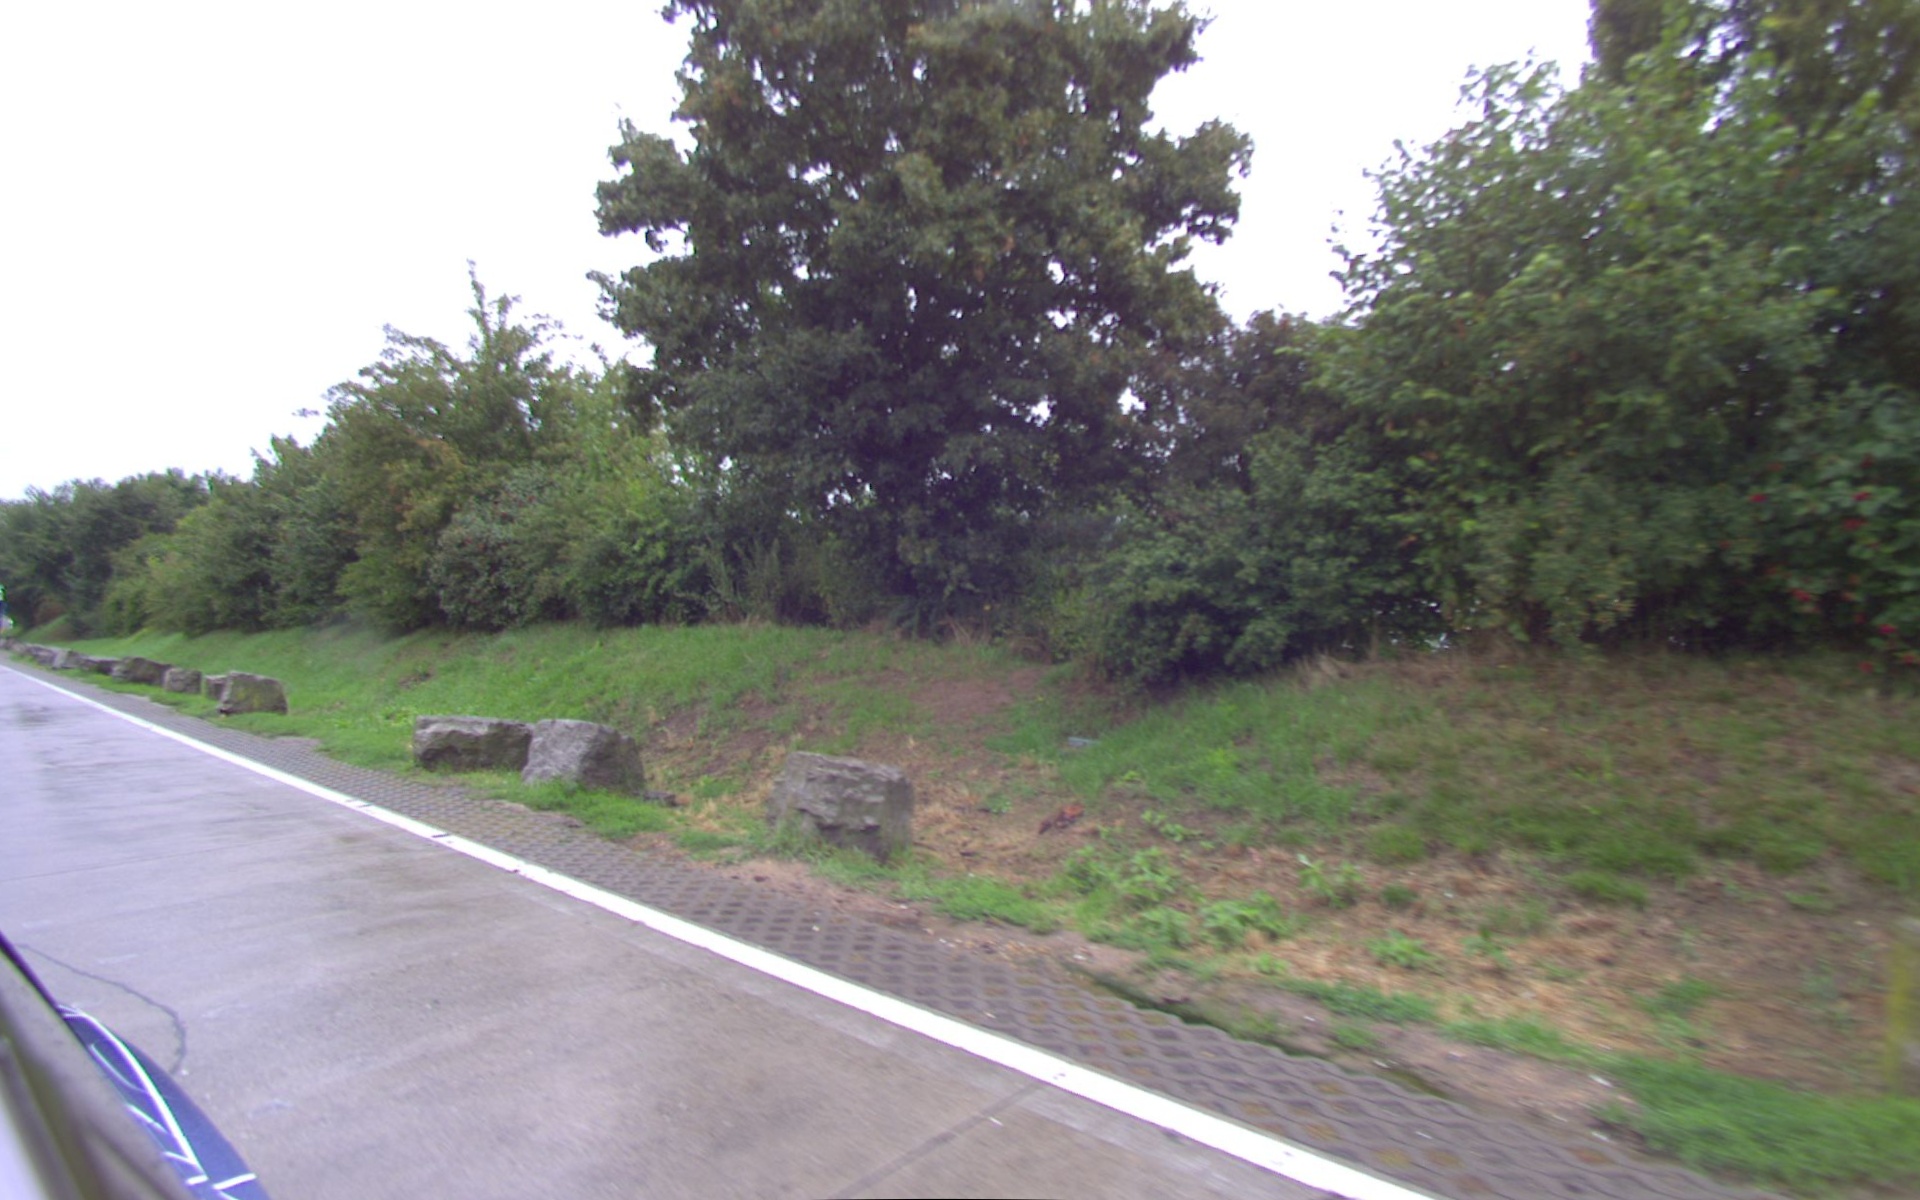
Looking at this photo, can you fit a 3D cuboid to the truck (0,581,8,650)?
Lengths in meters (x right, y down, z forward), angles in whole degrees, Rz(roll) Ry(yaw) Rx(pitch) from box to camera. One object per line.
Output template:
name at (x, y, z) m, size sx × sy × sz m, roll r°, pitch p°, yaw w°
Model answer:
truck at (-64.706, 1.026, 66.087) m, size 6.314 × 4.420 × 3.200 m, roll -1°, pitch -3°, yaw 43°

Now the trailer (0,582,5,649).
trailer at (-69.444, 1.058, 70.620) m, size 13.767 × 4.420 × 3.200 m, roll -1°, pitch -3°, yaw 43°
